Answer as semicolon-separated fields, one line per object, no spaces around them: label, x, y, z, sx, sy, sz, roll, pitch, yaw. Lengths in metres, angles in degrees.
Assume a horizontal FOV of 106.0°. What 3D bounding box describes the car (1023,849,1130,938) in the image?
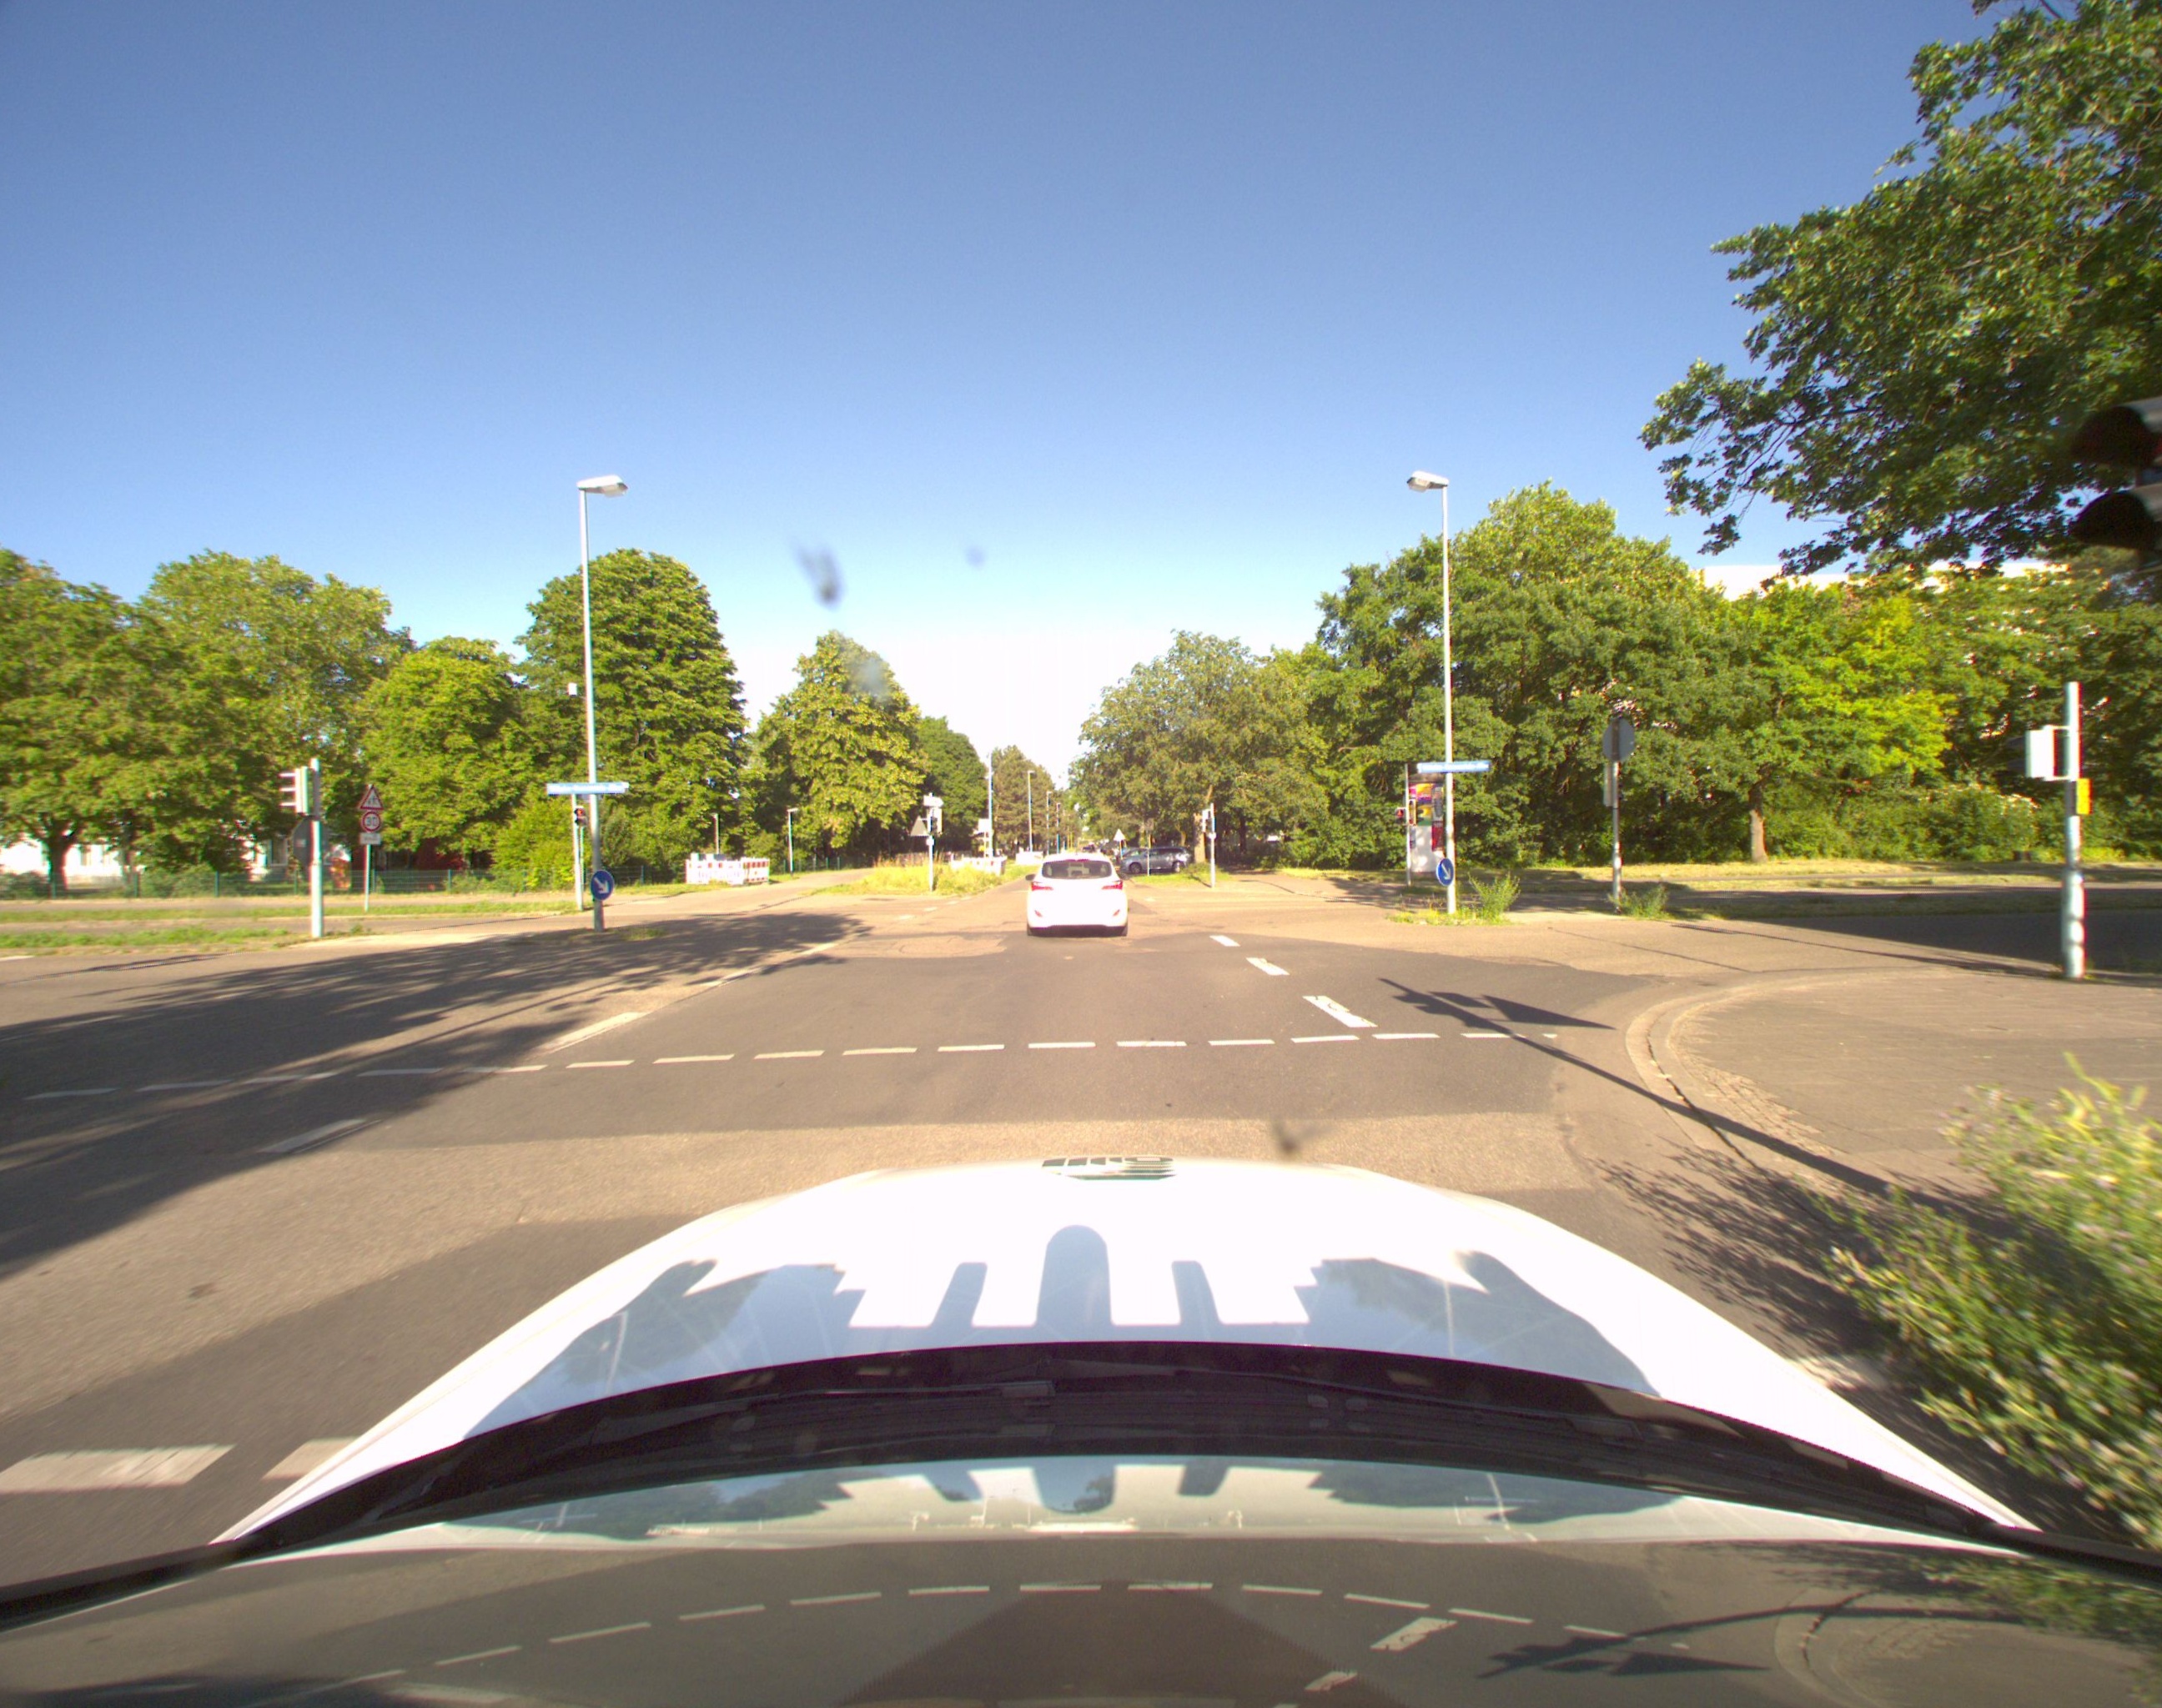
car;-0.099;0.643;15.545;1.784;1.463;3.962;0;0;-1

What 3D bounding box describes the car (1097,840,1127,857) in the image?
car;3.914;-0.656;103.447;3.806;2.098;1.863;0;0;0

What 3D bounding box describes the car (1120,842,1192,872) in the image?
car;4.699;0.169;51.424;4.480;1.783;1.856;-1;0;3

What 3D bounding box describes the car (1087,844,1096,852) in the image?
car;2.433;-1.351;182.784;1.986;1.816;4.001;0;0;1

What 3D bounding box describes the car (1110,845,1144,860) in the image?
car;5.213;-0.147;93.401;3.806;1.684;1.863;0;0;0

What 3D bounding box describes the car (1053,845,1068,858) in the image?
car;-3.130;-0.366;123.874;1.986;1.816;4.001;-1;0;1

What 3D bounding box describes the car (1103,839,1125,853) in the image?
car;5.793;-1.368;142.199;3.806;2.299;1.863;0;0;0

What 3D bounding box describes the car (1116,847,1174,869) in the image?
car;4.974;0.270;63.592;4.480;1.630;1.856;-1;0;3

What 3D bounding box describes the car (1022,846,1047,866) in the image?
car;-4.315;0.162;75.469;1.986;1.816;4.001;-1;0;1

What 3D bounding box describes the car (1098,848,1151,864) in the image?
car;4.641;0.231;87.250;5.594;1.684;1.948;0;0;0

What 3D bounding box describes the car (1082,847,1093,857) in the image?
car;1.182;-0.317;144.661;1.986;1.816;4.001;0;0;1

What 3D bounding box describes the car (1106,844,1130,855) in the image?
car;5.758;-0.736;127.612;3.806;1.767;1.863;0;0;0

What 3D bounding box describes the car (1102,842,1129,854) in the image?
car;5.579;-0.901;130.763;4.287;1.907;1.863;0;0;0
